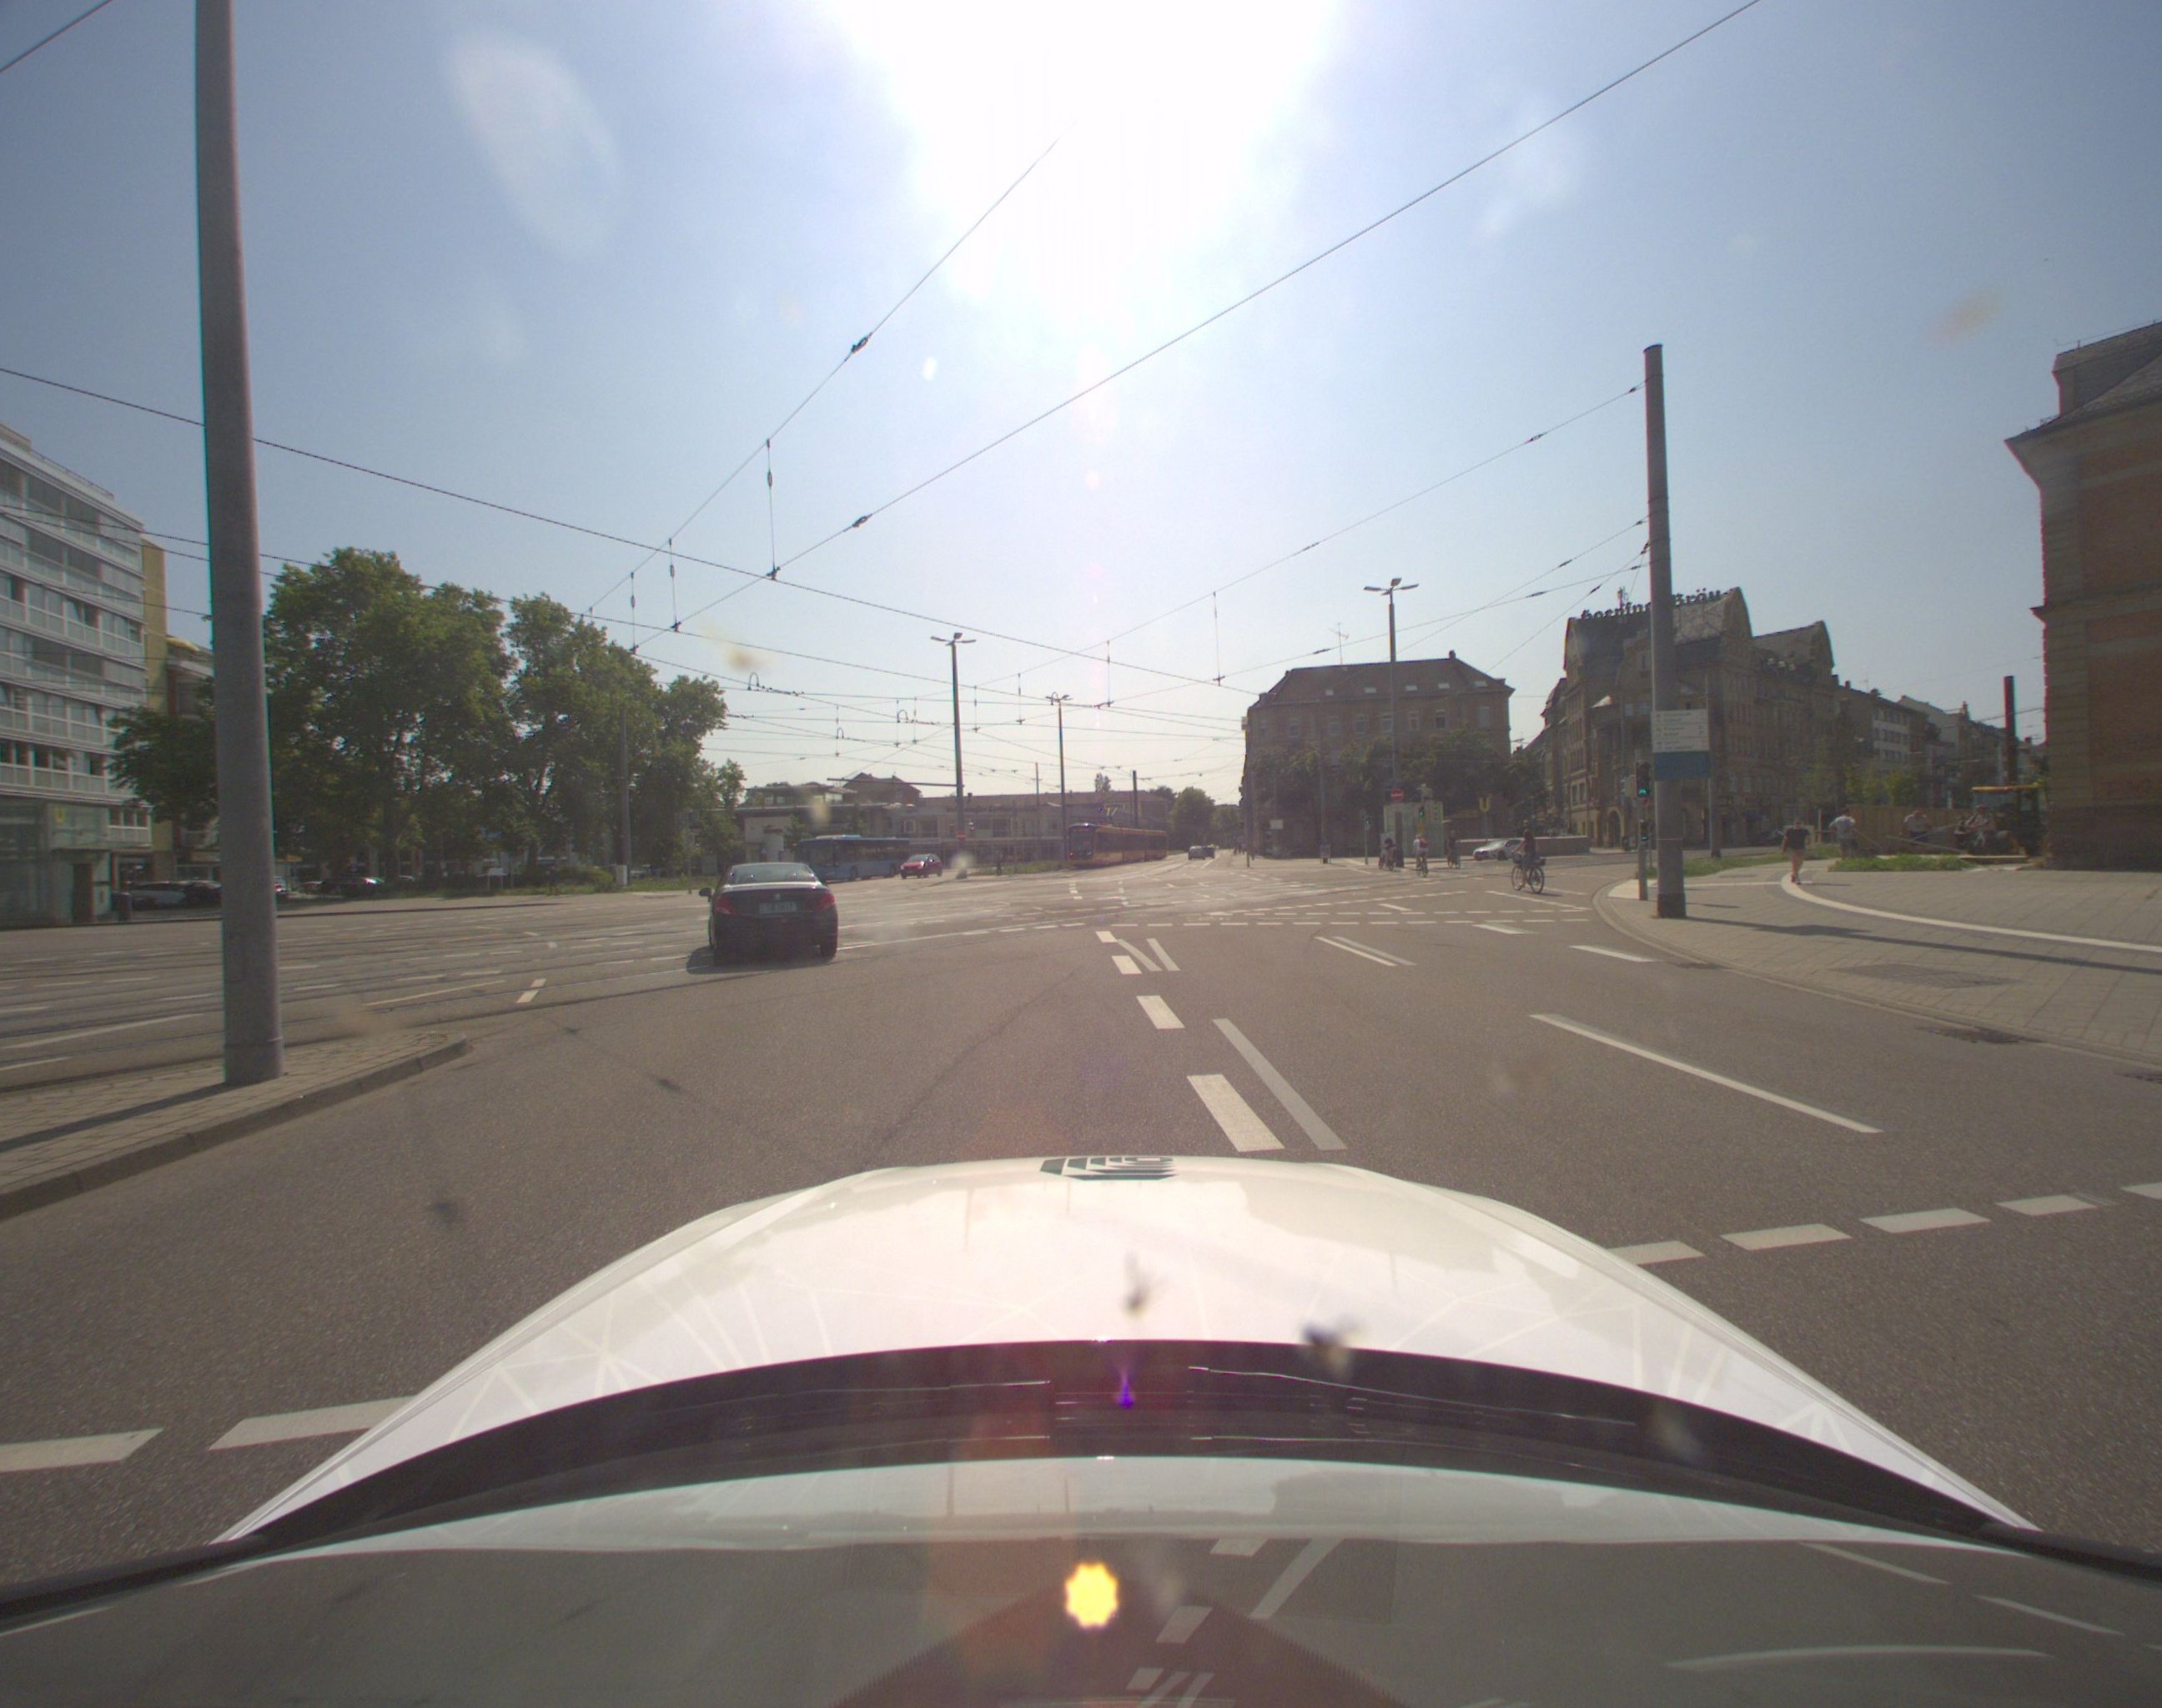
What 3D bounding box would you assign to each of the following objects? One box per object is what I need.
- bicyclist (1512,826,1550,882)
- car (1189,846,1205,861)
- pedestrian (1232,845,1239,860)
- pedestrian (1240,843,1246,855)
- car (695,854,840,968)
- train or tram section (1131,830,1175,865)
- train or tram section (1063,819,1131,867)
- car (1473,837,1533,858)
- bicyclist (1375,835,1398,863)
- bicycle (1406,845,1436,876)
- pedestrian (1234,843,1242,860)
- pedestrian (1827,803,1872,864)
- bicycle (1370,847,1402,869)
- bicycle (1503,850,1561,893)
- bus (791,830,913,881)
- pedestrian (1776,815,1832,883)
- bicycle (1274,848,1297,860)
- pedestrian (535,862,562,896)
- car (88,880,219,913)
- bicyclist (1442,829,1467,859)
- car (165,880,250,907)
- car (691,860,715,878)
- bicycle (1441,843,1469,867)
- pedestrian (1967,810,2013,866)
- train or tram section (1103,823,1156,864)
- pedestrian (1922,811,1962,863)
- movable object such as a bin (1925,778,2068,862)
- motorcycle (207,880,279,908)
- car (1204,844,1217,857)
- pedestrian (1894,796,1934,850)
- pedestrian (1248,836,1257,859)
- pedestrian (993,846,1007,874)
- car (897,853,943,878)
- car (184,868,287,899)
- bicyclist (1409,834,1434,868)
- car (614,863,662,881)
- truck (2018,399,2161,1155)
[{"bbox_3d":[12.220,0.001,22.120,0.654,1.481,0.644,-2,0,1],"label":"bicyclist"},{"bbox_3d":[12.604,-0.012,88.747,1.723,1.574,3.619,0,-1,7],"label":"car"},{"bbox_3d":[20.860,-0.214,110.127,0.788,2.014,0.811,0,-1,3],"label":"pedestrian"},{"bbox_3d":[23.668,-0.762,119.072,0.835,1.671,0.811,0,0,3],"label":"pedestrian"},{"bbox_3d":[-4.953,0.769,12.855,1.797,1.431,3.970,-2,0,-22],"label":"car"},{"bbox_3d":[8.120,-0.638,90.214,2.568,3.560,12.267,-1,-1,15],"label":"train or tram section"},{"bbox_3d":[1.573,-0.782,66.555,2.568,3.560,12.267,-1,-1,15],"label":"train or tram section"},{"bbox_3d":[27.830,-0.418,53.704,3.734,1.288,1.575,0,-1,-25],"label":"car"},{"bbox_3d":[14.454,-0.245,38.547,0.744,1.320,0.922,0,-1,1],"label":"bicyclist"},{"bbox_3d":[12.959,0.233,31.072,0.438,1.111,1.644,-2,0,2],"label":"bicycle"},{"bbox_3d":[18.889,-0.297,98.142,0.835,2.014,0.811,0,-1,3],"label":"pedestrian"},{"bbox_3d":[23.770,-0.624,25.195,0.676,1.813,1.045,-2,0,25],"label":"pedestrian"},{"bbox_3d":[14.455,0.165,38.670,0.641,0.998,2.376,-2,0,2],"label":"bicycle"},{"bbox_3d":[12.222,0.443,22.134,0.438,1.111,2.129,-2,0,2],"label":"bicycle"},{"bbox_3d":[-15.574,0.049,56.875,2.707,3.064,12.123,-2,0,12],"label":"bus"},{"bbox_3d":[17.799,-0.115,20.077,0.783,1.609,0.956,-4,-1,31],"label":"pedestrian"},{"bbox_3d":[17.343,0.001,69.098,1.774,0.957,0.462,-2,0,5],"label":"bicycle"},{"bbox_3d":[-26.917,1.248,41.205,0.951,1.609,0.787,-3,1,-24],"label":"pedestrian"},{"bbox_3d":[-50.450,2.279,44.404,4.252,1.470,1.891,-2,0,-24],"label":"car"},{"bbox_3d":[18.024,-0.457,39.323,0.798,1.423,0.930,0,-1,1],"label":"bicyclist"},{"bbox_3d":[-52.425,2.359,48.932,3.102,1.428,1.392,-2,0,-24],"label":"car"},{"bbox_3d":[-44.208,1.774,95.091,2.339,2.014,6.749,0,-1,-27],"label":"car"},{"bbox_3d":[18.018,0.049,39.288,0.468,1.126,1.958,0,-1,2],"label":"bicycle"},{"bbox_3d":[27.794,-0.474,24.907,0.676,1.672,0.690,-2,0,25],"label":"pedestrian"},{"bbox_3d":[4.836,-0.899,78.352,2.568,3.560,12.267,-1,-1,15],"label":"train or tram section"},{"bbox_3d":[28.238,-0.551,26.722,0.676,1.672,0.690,-2,0,25],"label":"pedestrian"},{"bbox_3d":[31.024,-1.159,27.588,4.459,2.671,1.805,-2,0,-22],"label":"movable object such as a bin"},{"bbox_3d":[-38.238,1.808,37.180,2.105,1.136,0.910,-2,0,-9],"label":"motorcycle"},{"bbox_3d":[15.465,-0.466,97.506,1.501,1.511,3.632,-2,0,8],"label":"car"},{"bbox_3d":[26.726,-0.986,26.143,0.676,1.672,0.690,-2,0,25],"label":"pedestrian"},{"bbox_3d":[15.175,-0.573,71.920,0.645,2.013,0.705,-2,0,8],"label":"pedestrian"},{"bbox_3d":[-4.993,0.340,50.257,0.801,1.687,0.717,-2,0,-7],"label":"pedestrian"},{"bbox_3d":[-10.630,0.723,53.949,1.614,1.472,3.784,-2,0,11],"label":"car"},{"bbox_3d":[-53.089,1.823,51.243,4.079,1.666,1.777,-2,0,-24],"label":"car"},{"bbox_3d":[12.972,-0.101,31.031,0.654,1.254,0.644,-2,0,1],"label":"bicyclist"},{"bbox_3d":[-47.836,1.889,88.018,1.694,1.753,4.286,-2,0,29],"label":"car"},{"bbox_3d":[6.230,-0.313,0.479,3.024,3.229,7.185,-1,0,-2],"label":"truck"}]
